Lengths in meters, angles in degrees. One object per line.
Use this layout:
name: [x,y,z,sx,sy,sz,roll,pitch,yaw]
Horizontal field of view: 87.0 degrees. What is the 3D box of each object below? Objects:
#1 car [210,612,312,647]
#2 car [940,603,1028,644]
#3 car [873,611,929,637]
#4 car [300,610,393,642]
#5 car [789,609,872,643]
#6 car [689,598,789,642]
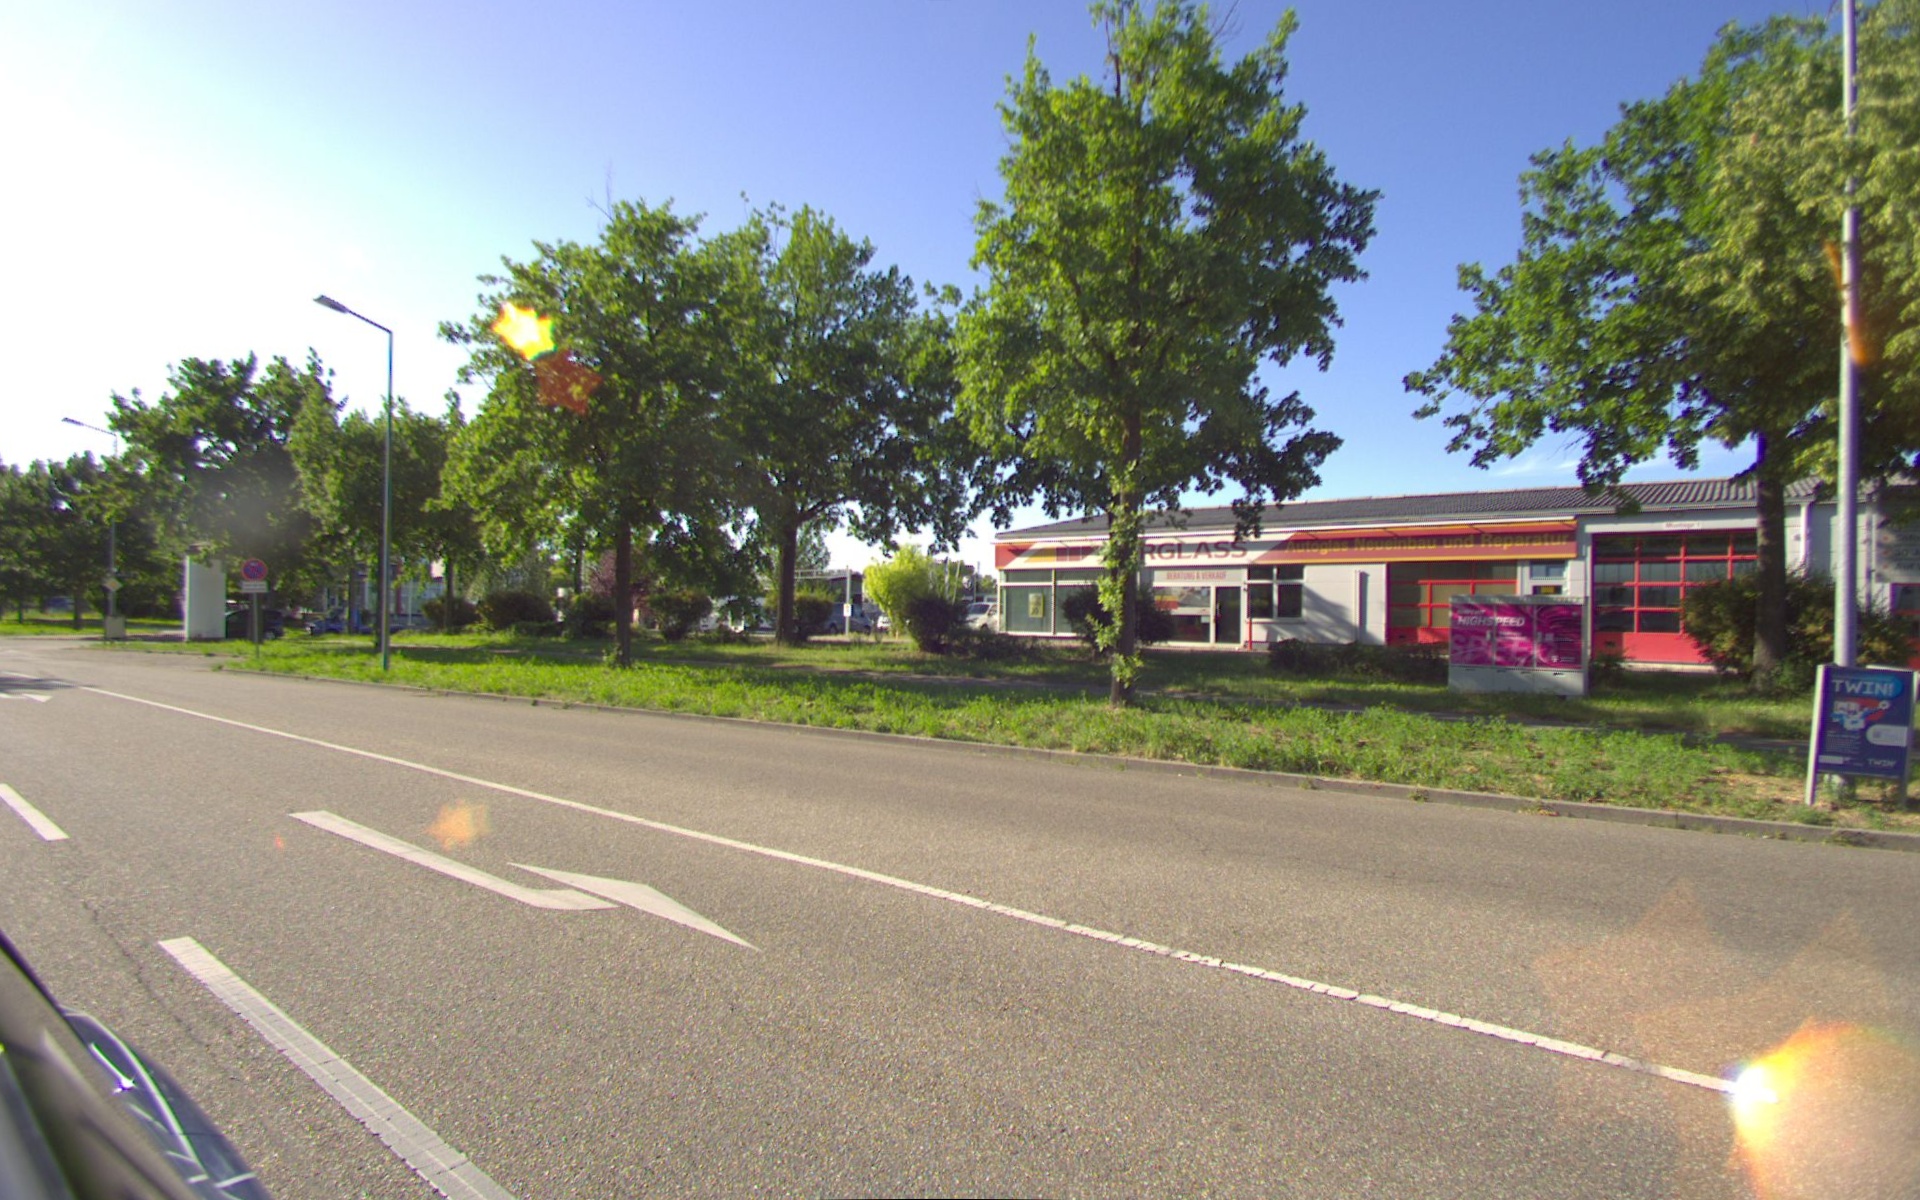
car: [-39.487,1.630,57.265,1.999,1.847,4.406,0,0,40]
car: [1.043,0.954,42.465,1.734,1.583,3.769,-2,-1,40]
car: [-4.080,1.652,70.483,1.761,1.684,3.811,0,0,40]
car: [-38.170,1.585,63.053,1.999,1.847,4.578,0,0,40]
car: [-7.337,1.424,57.643,1.989,1.795,4.583,0,0,40]
car: [-13.649,1.184,62.846,2.406,2.574,5.952,0,0,36]
